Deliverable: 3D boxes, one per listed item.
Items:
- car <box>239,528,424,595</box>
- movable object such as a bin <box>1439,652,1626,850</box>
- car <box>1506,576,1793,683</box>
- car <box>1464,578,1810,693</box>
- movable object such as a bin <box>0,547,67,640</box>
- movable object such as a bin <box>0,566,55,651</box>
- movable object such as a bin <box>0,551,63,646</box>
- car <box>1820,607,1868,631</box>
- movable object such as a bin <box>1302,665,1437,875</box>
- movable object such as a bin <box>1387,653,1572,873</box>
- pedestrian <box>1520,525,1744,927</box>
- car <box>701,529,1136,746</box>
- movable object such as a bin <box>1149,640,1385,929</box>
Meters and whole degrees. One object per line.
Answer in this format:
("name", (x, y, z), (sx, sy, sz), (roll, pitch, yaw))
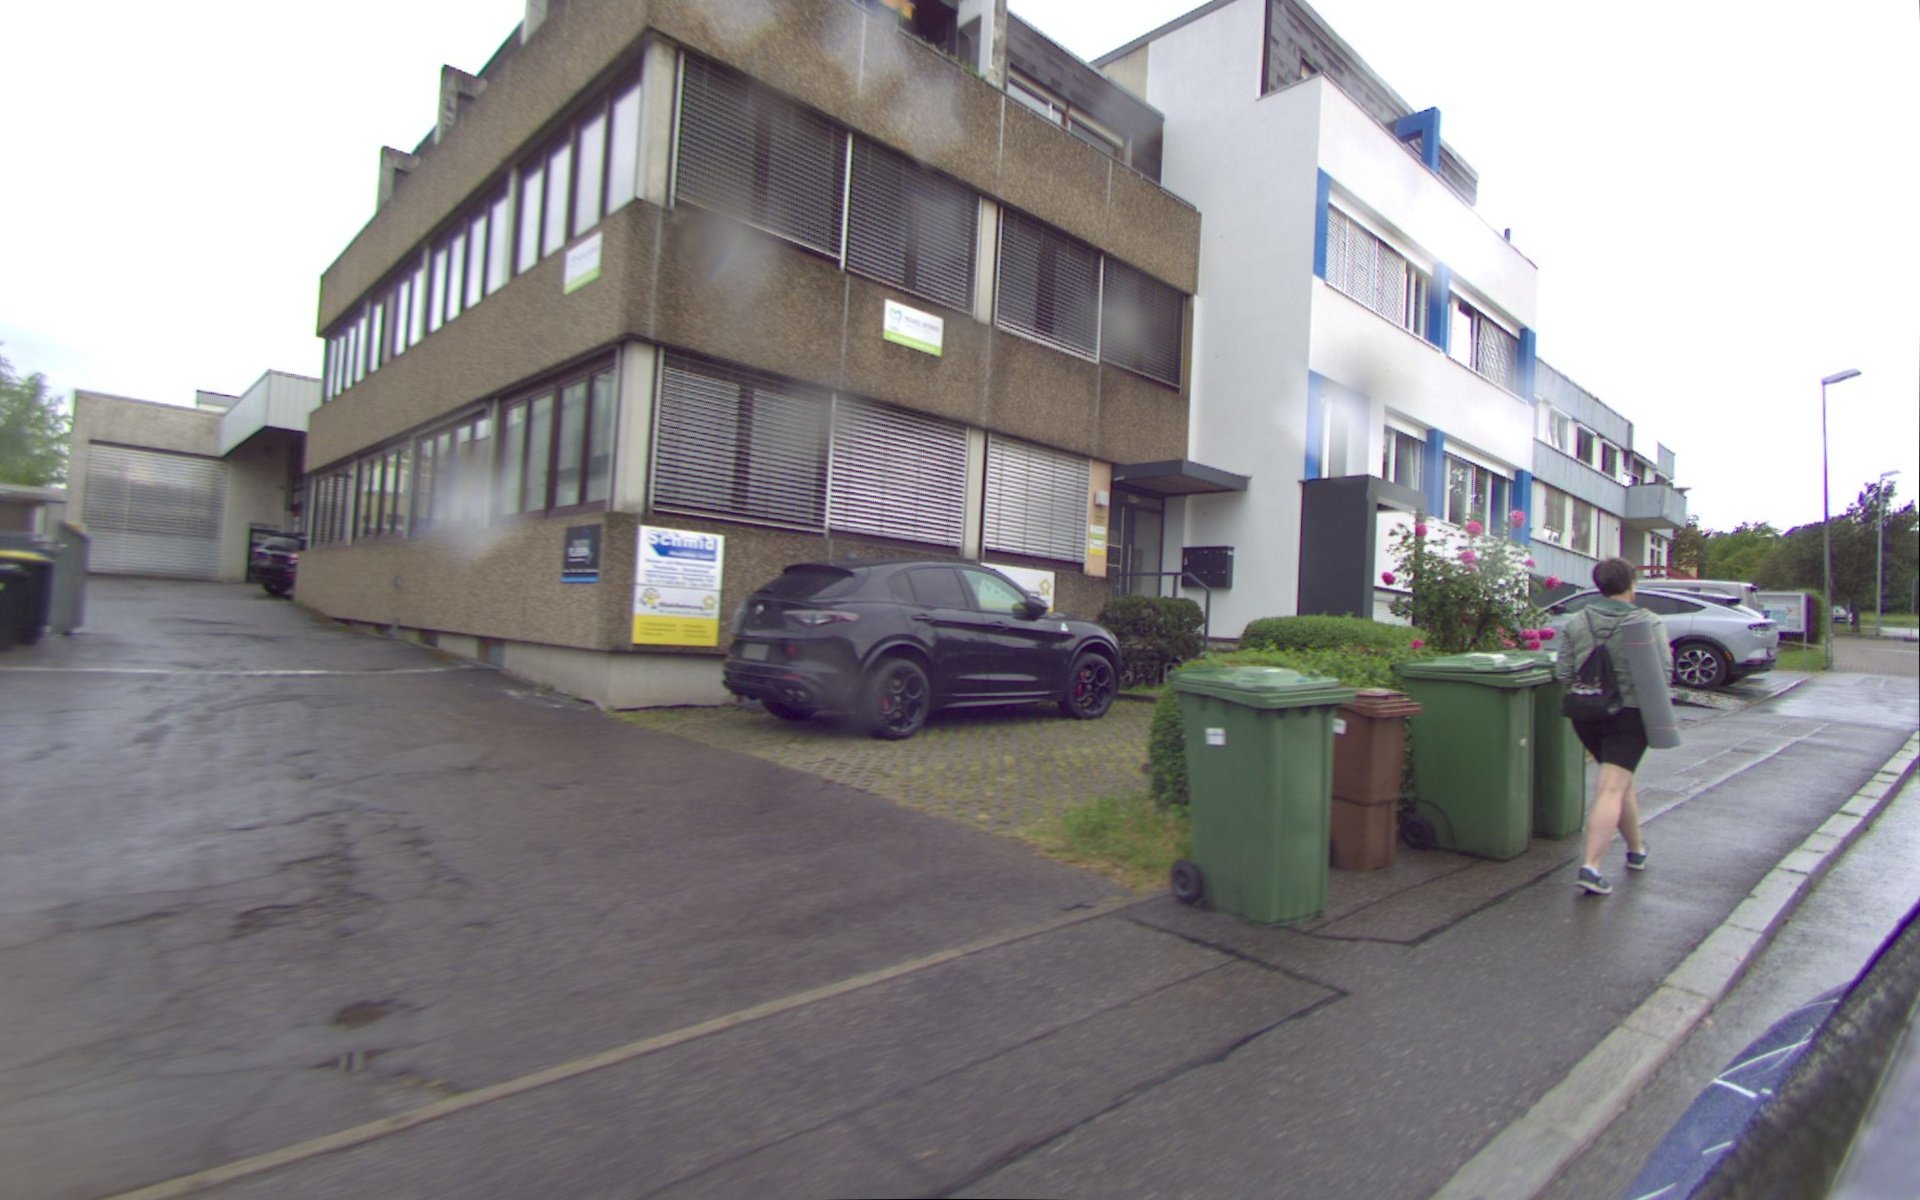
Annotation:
("car", (-16.744, -0.999, 27.132), (1.847, 1.587, 3.794), (4, 2, 28))
("movable object such as a bin", (3.489, 0.865, 6.170), (0.794, 1.043, 0.773), (1, 0, -41))
("car", (13.467, 0.495, 19.942), (2.054, 1.795, 4.344), (1, 1, -44))
("car", (11.557, 0.503, 17.533), (2.044, 1.557, 4.604), (1, 2, -43))
("movable object such as a bin", (-11.972, -0.094, 13.042), (0.609, 1.153, 1.019), (2, 1, -39))
("movable object such as a bin", (-10.541, 0.087, 11.285), (0.609, 0.909, 0.804), (2, 1, -39))
("movable object such as a bin", (-11.211, -0.032, 12.127), (0.609, 1.093, 1.019), (2, 1, -39))
("car", (72.906, 1.540, 83.556), (1.799, 1.748, 4.609), (1, 1, 26))
("movable object such as a bin", (2.146, 0.856, 5.309), (0.505, 0.979, 0.473), (1, 0, -41))
("movable object such as a bin", (2.928, 0.866, 5.714), (0.625, 1.080, 0.744), (1, 0, -41))
("pedestrian", (3.353, 0.557, 5.051), (0.794, 1.789, 0.738), (1, 0, -41))
("car", (-0.242, 0.280, 10.422), (4.398, 1.772, 1.751), (0, 1, -43))
("movable object such as a bin", (1.365, 0.764, 4.562), (0.689, 1.127, 0.732), (1, 0, -27))
